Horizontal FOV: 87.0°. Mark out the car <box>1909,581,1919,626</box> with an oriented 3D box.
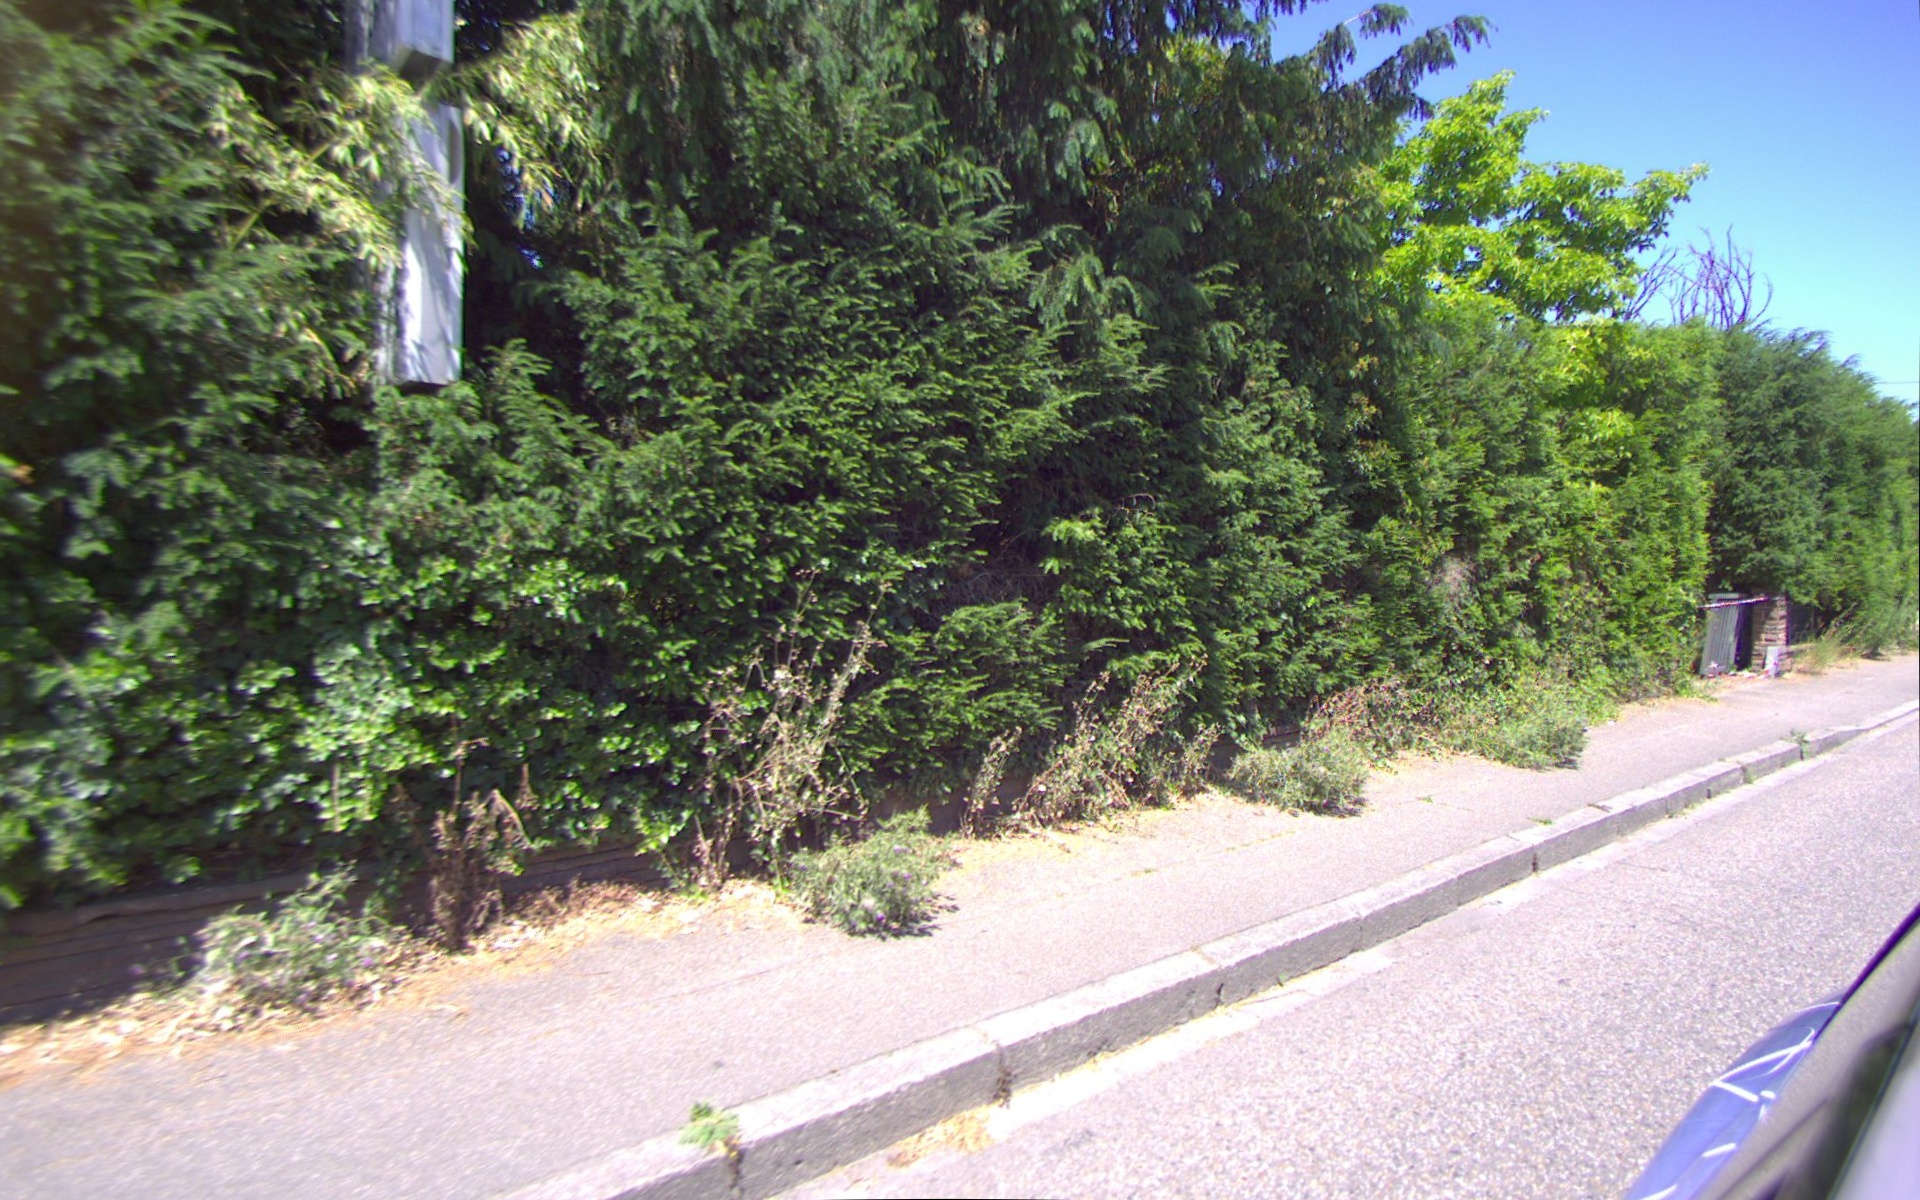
[{"bbox_3d":[35.092,0.125,35.426,3.763,1.542,1.719,-1,2,-30],"label":"car"}]
